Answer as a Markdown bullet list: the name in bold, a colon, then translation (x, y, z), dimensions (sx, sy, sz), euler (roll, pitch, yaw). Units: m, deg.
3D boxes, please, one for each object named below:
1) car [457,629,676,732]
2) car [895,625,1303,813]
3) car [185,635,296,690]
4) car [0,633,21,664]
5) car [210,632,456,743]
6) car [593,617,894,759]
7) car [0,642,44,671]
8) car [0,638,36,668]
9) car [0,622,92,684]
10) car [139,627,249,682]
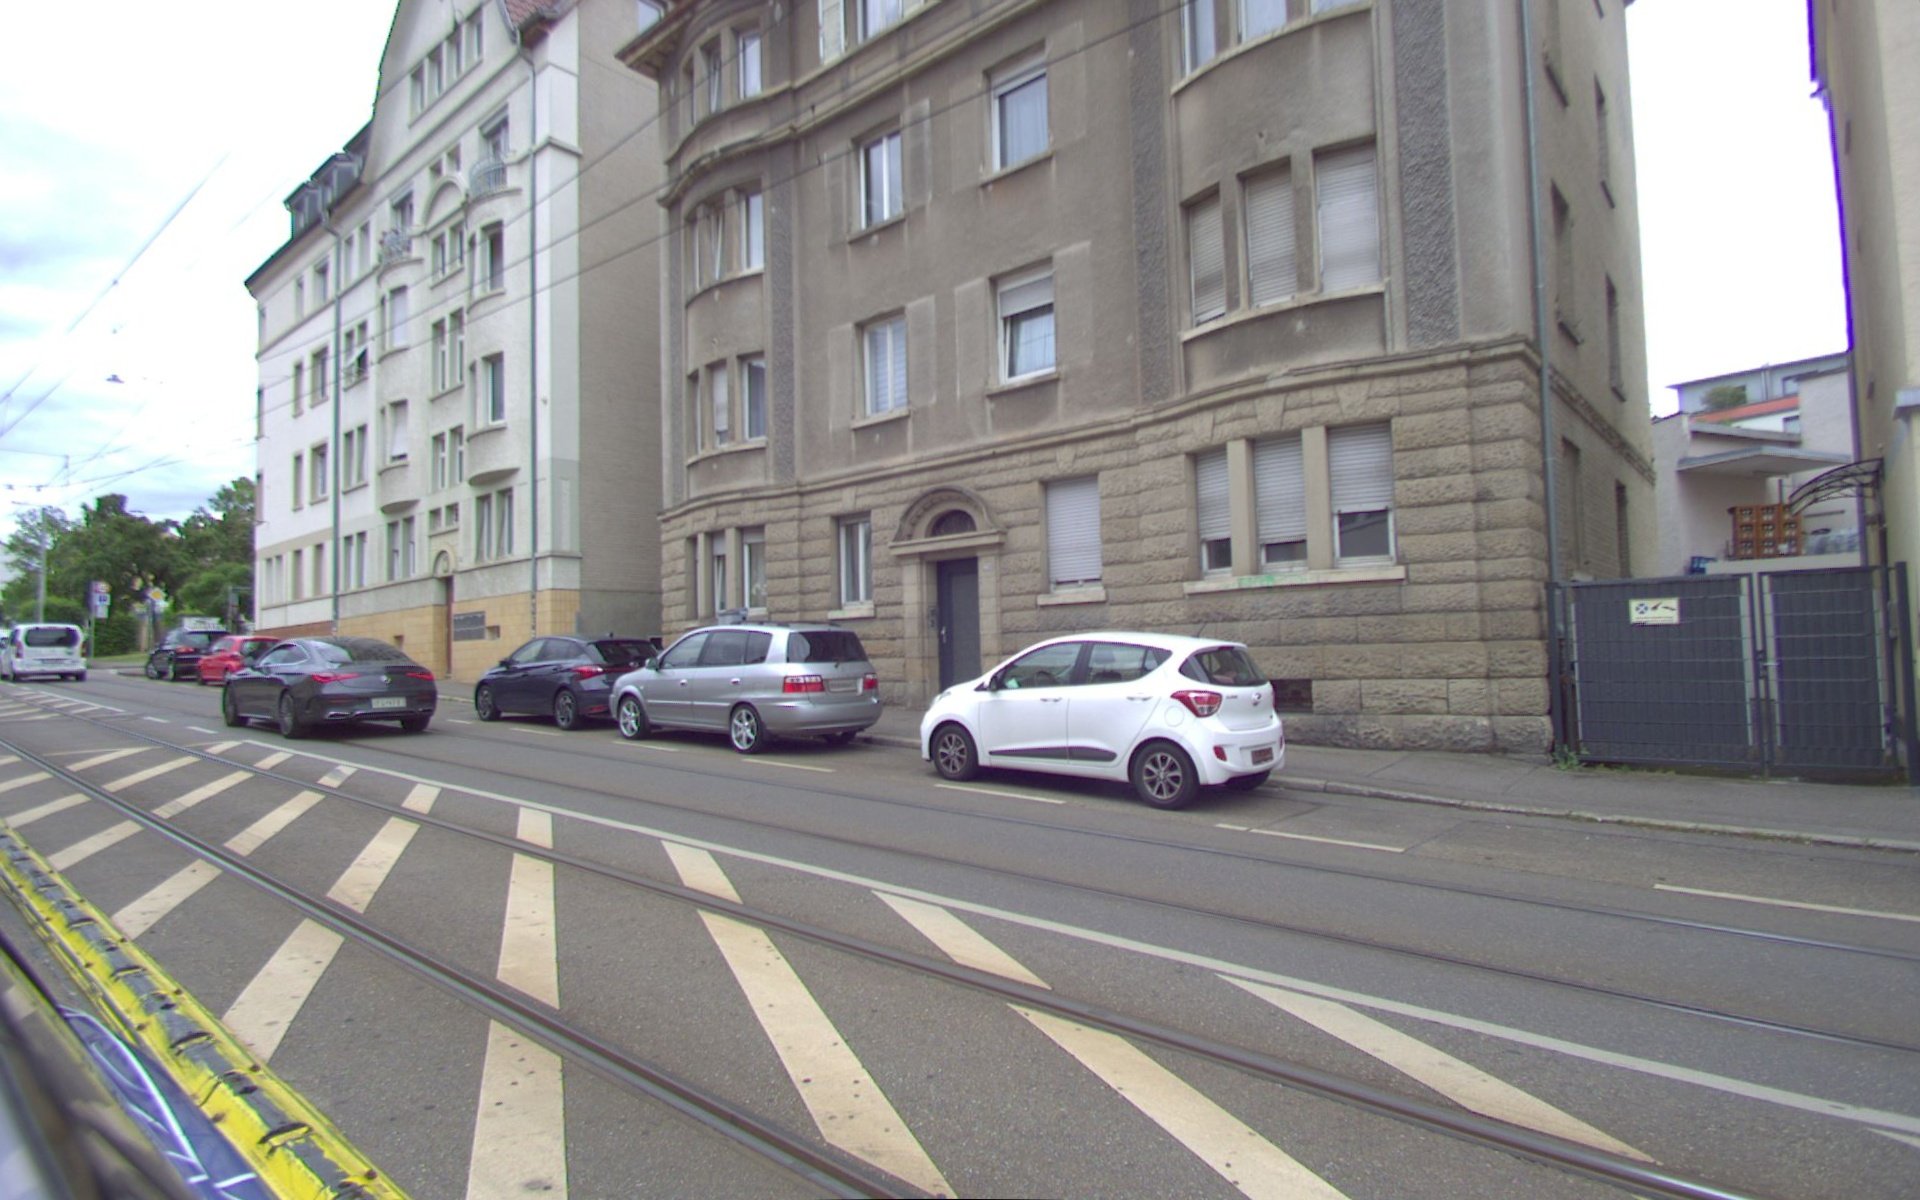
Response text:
- **car**: translation (-6.556, 1.239, 16.688), dimensions (4.029, 1.474, 1.604), euler (-1, -3, 40)
- **car**: translation (1.243, 1.010, 9.881), dimensions (3.683, 1.474, 1.603), euler (-1, -3, 41)
- **car**: translation (-20.926, 1.770, 29.382), dimensions (3.740, 1.474, 1.605), euler (-1, -3, 38)
- **car**: translation (-62.167, 3.079, 65.072), dimensions (4.731, 1.927, 1.949), euler (-1, -3, 40)
- **car**: translation (-9.611, 1.212, 15.380), dimensions (4.495, 1.435, 1.901), euler (-2, -3, 41)
- **car**: translation (-3.004, 1.091, 13.532), dimensions (4.347, 1.616, 1.604), euler (-2, -4, 40)
- **car**: translation (-53.558, 3.195, 57.436), dimensions (3.866, 1.520, 1.721), euler (-1, -3, 40)
- **car**: translation (-57.450, 3.160, 61.015), dimensions (4.629, 1.699, 1.949), euler (-1, -3, 40)
- **car**: translation (-29.091, 1.625, 32.033), dimensions (4.216, 1.833, 1.900), euler (-2, -3, 42)
- **car**: translation (-24.789, 1.718, 32.691), dimensions (4.398, 1.658, 1.848), euler (-1, -3, 40)
